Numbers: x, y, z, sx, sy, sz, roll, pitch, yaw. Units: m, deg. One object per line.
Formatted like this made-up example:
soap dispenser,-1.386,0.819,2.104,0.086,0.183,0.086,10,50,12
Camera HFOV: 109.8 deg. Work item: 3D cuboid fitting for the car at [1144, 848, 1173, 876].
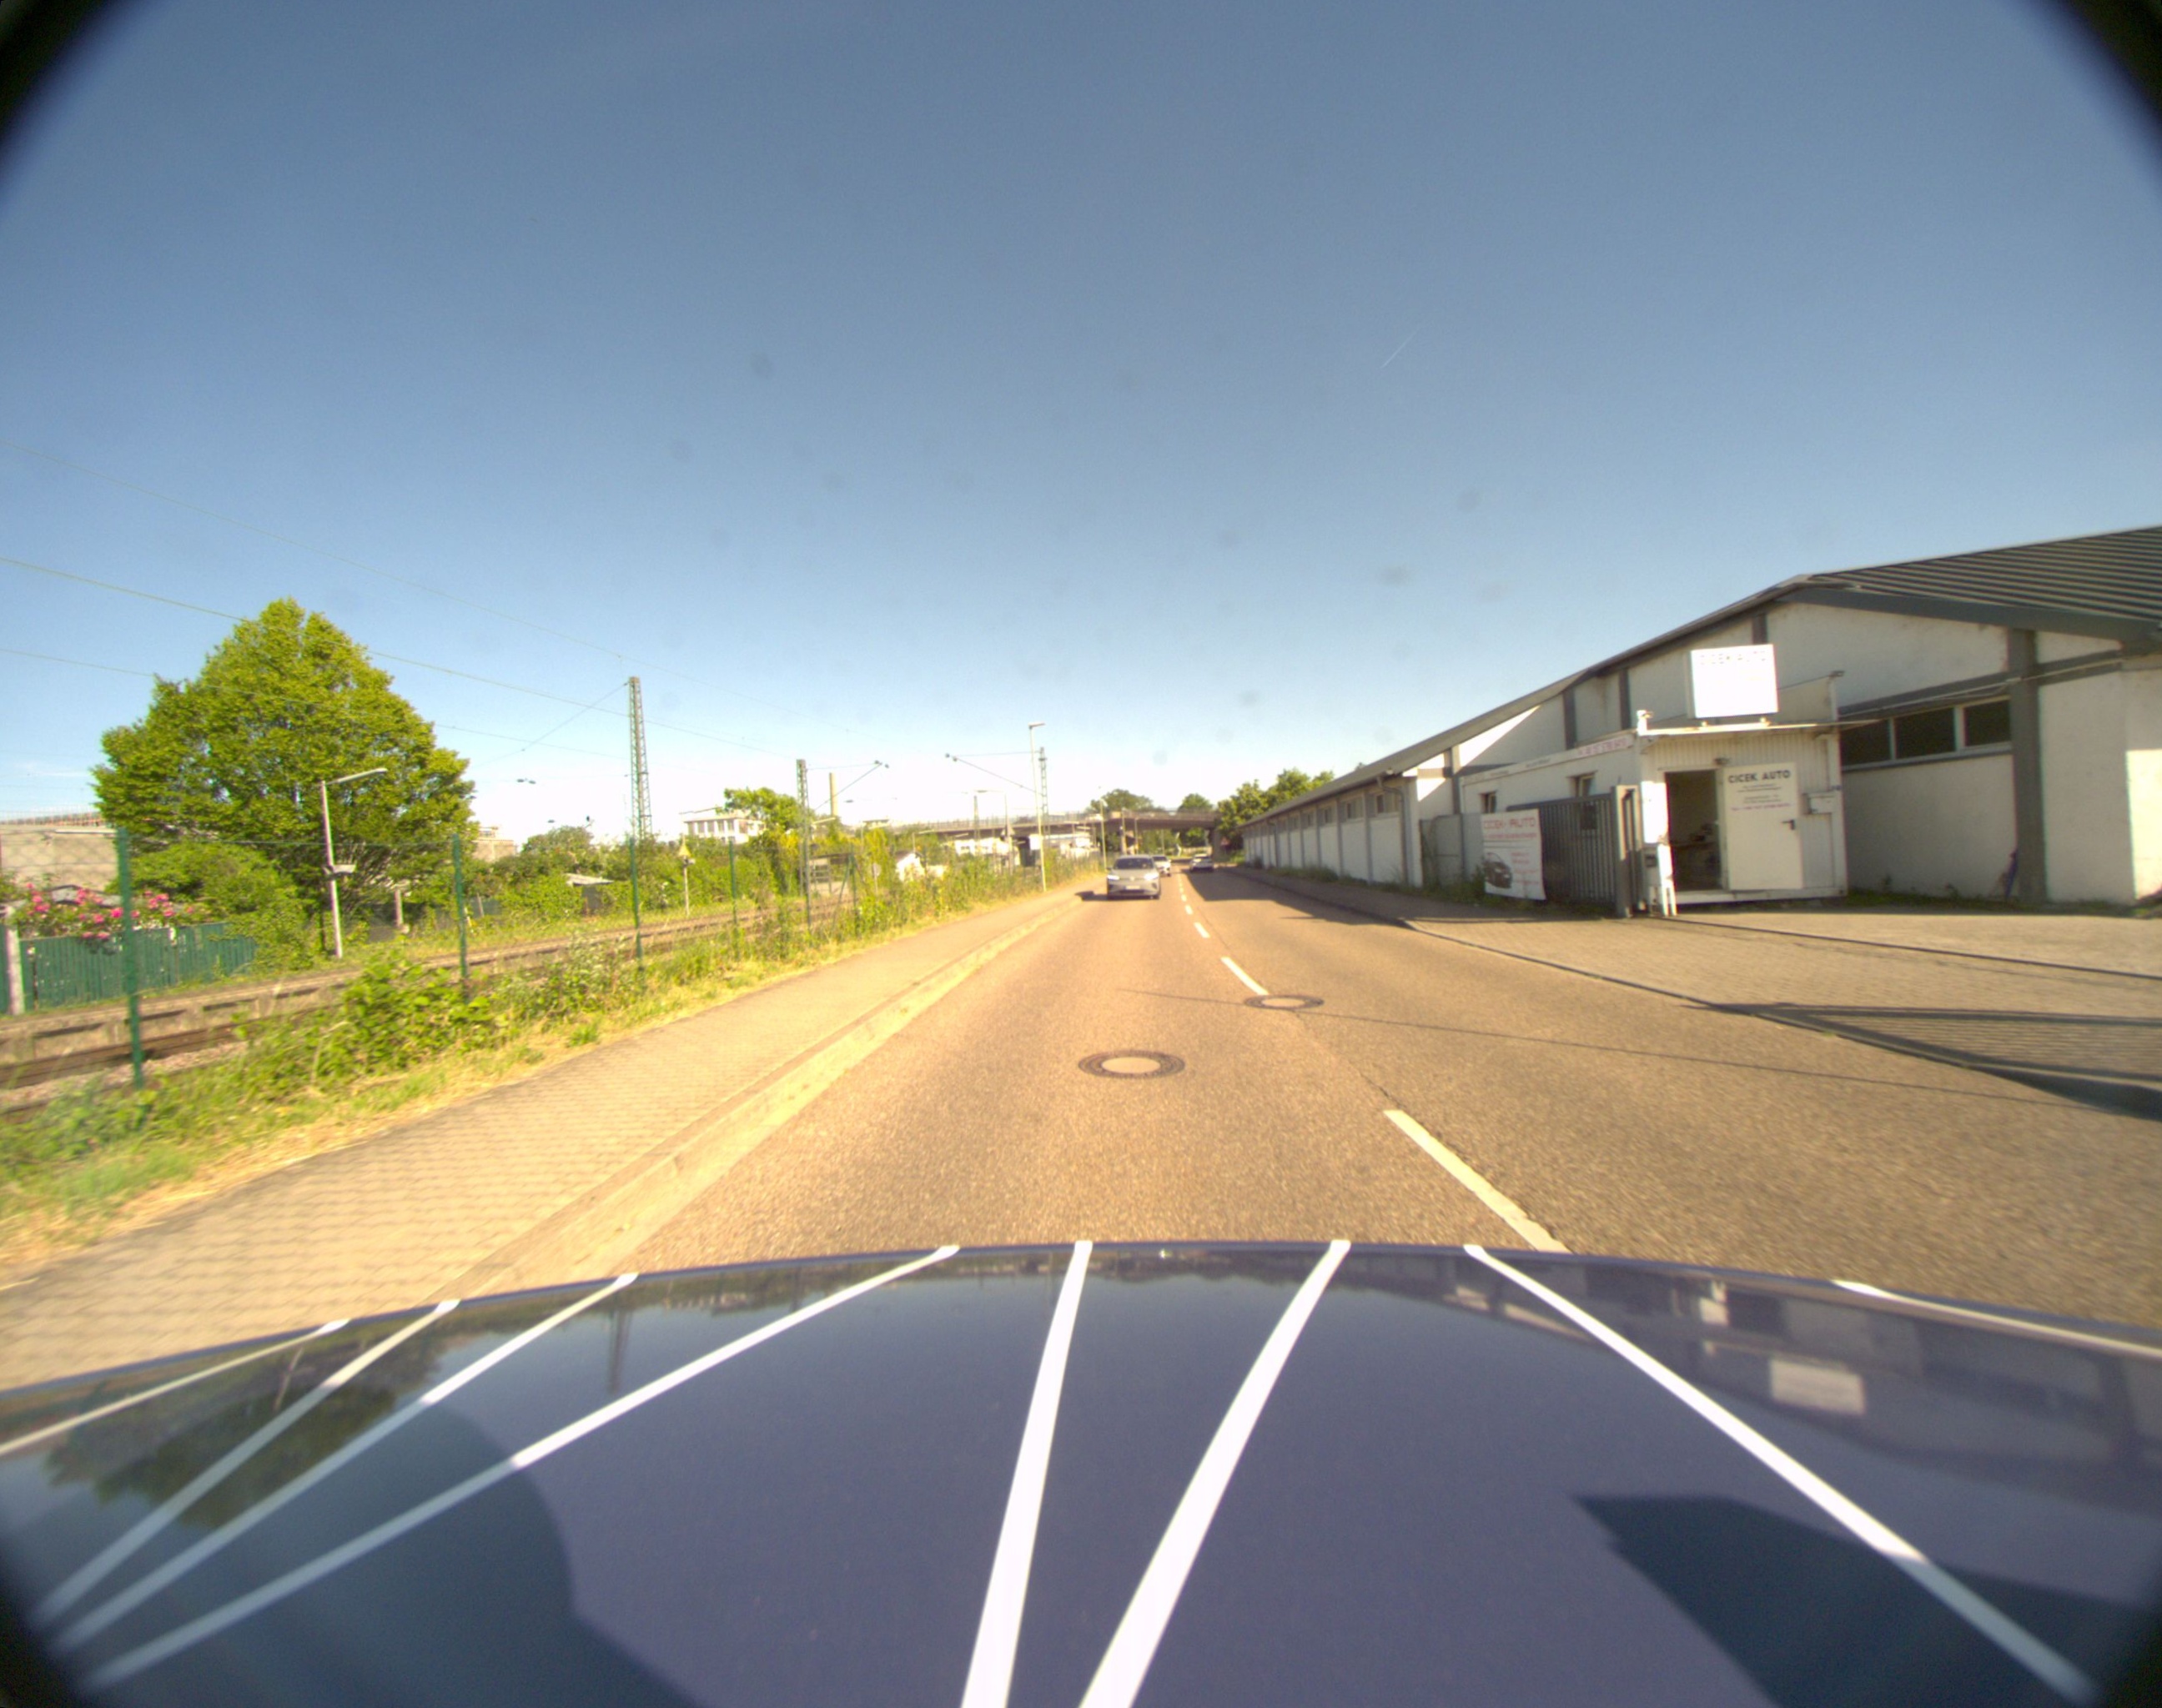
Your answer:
car,5.427,0.512,53.586,1.882,1.814,4.296,-2,1,4

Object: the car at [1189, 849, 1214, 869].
car,9.943,0.394,62.869,1.812,1.469,4.689,-2,1,6

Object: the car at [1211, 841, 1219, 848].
car,36.863,-2.667,208.592,1.997,1.767,4.369,-3,1,12

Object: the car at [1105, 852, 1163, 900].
car,2.033,0.752,28.183,1.849,1.621,4.297,-1,0,7
